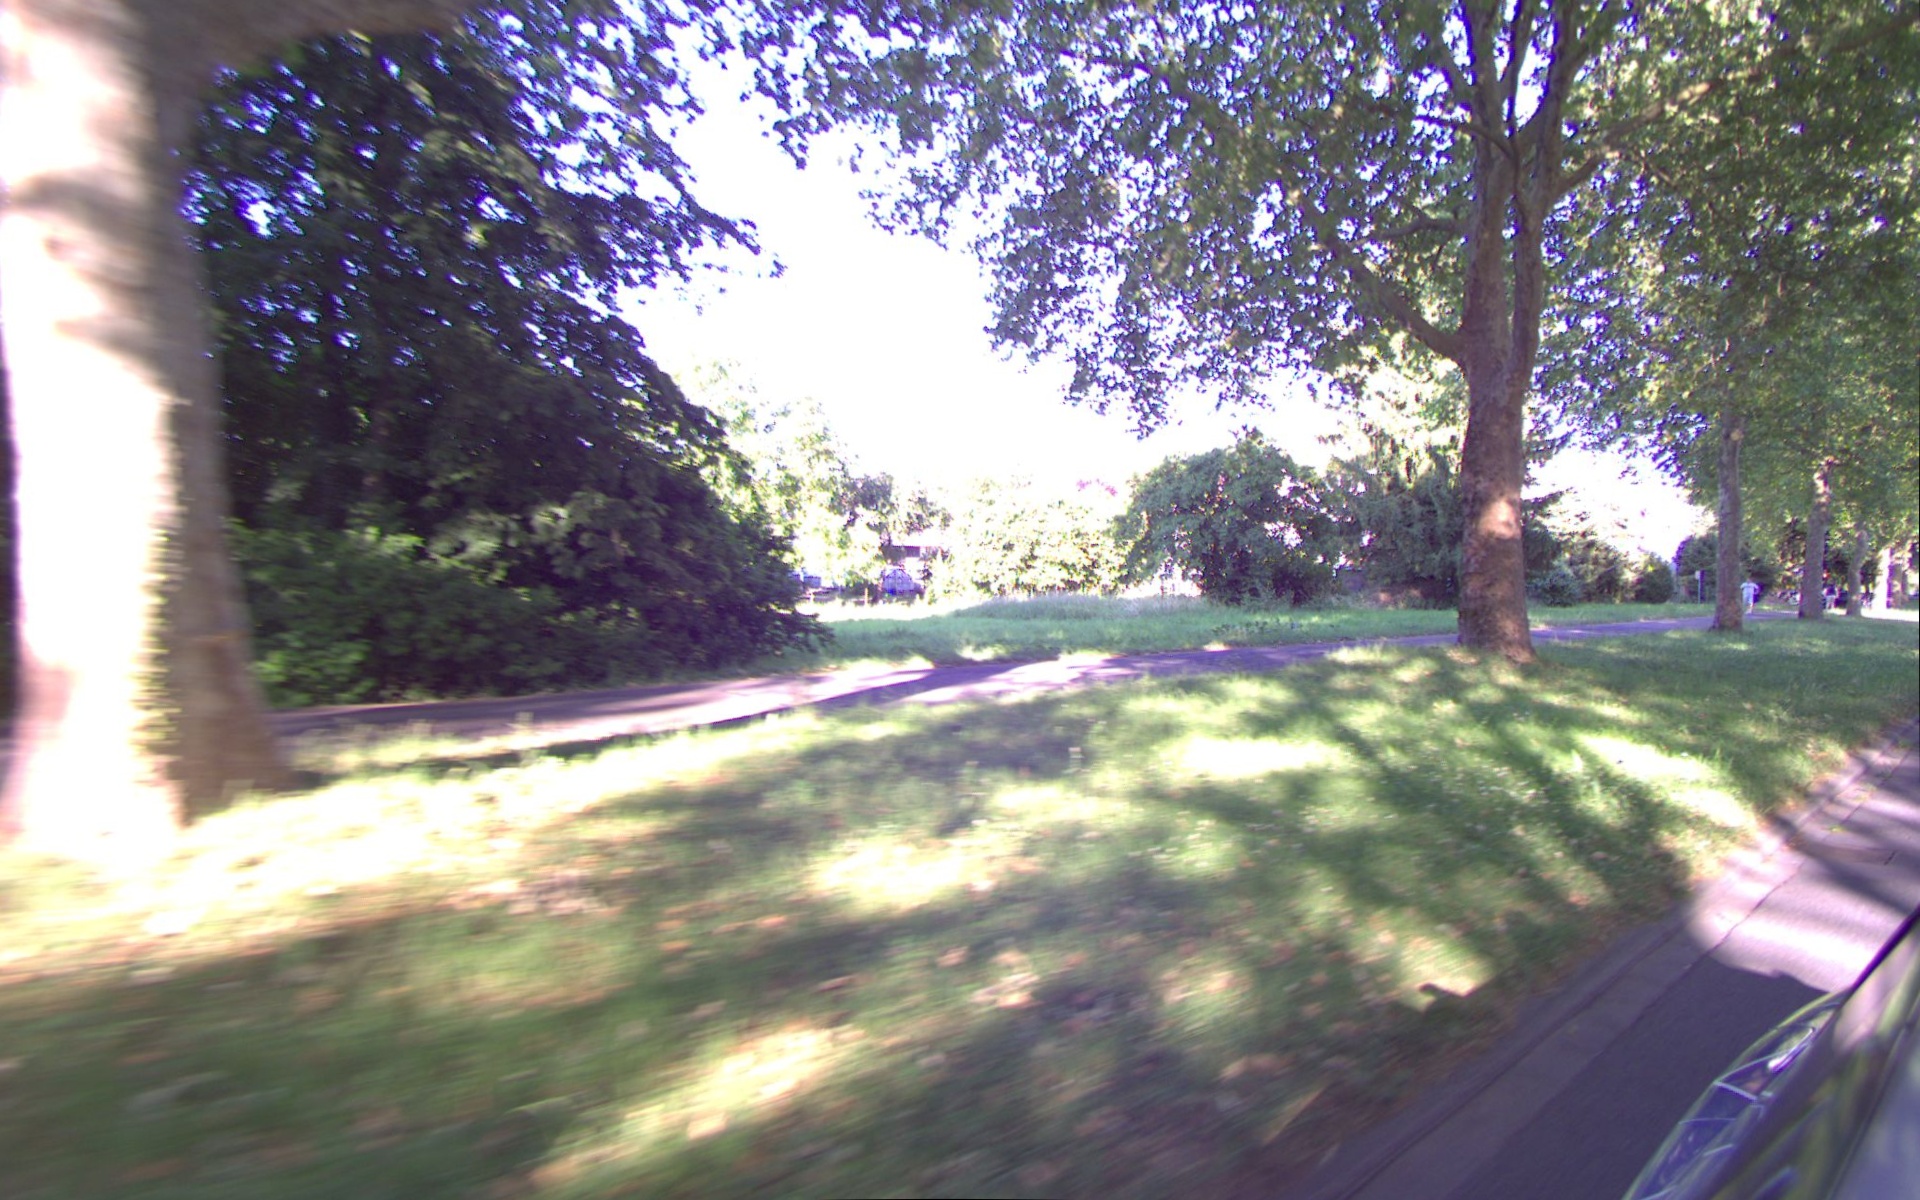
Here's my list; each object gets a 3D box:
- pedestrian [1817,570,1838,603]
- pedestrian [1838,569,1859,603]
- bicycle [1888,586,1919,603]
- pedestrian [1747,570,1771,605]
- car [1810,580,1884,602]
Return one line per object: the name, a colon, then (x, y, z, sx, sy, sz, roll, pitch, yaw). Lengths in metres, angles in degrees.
pedestrian: (48.992, -0.771, 57.183, 0.788, 1.870, 0.756, 0, 1, -41)
pedestrian: (49.728, -0.764, 56.625, 0.774, 1.869, 0.763, 0, 1, -41)
bicycle: (61.409, -0.339, 65.702, 0.437, 1.048, 1.723, 3, 1, -10)
pedestrian: (39.019, -0.631, 49.439, 0.923, 1.670, 0.780, 0, 2, -45)
car: (66.524, -0.696, 75.954, 1.704, 1.482, 4.058, -1, 3, -45)
